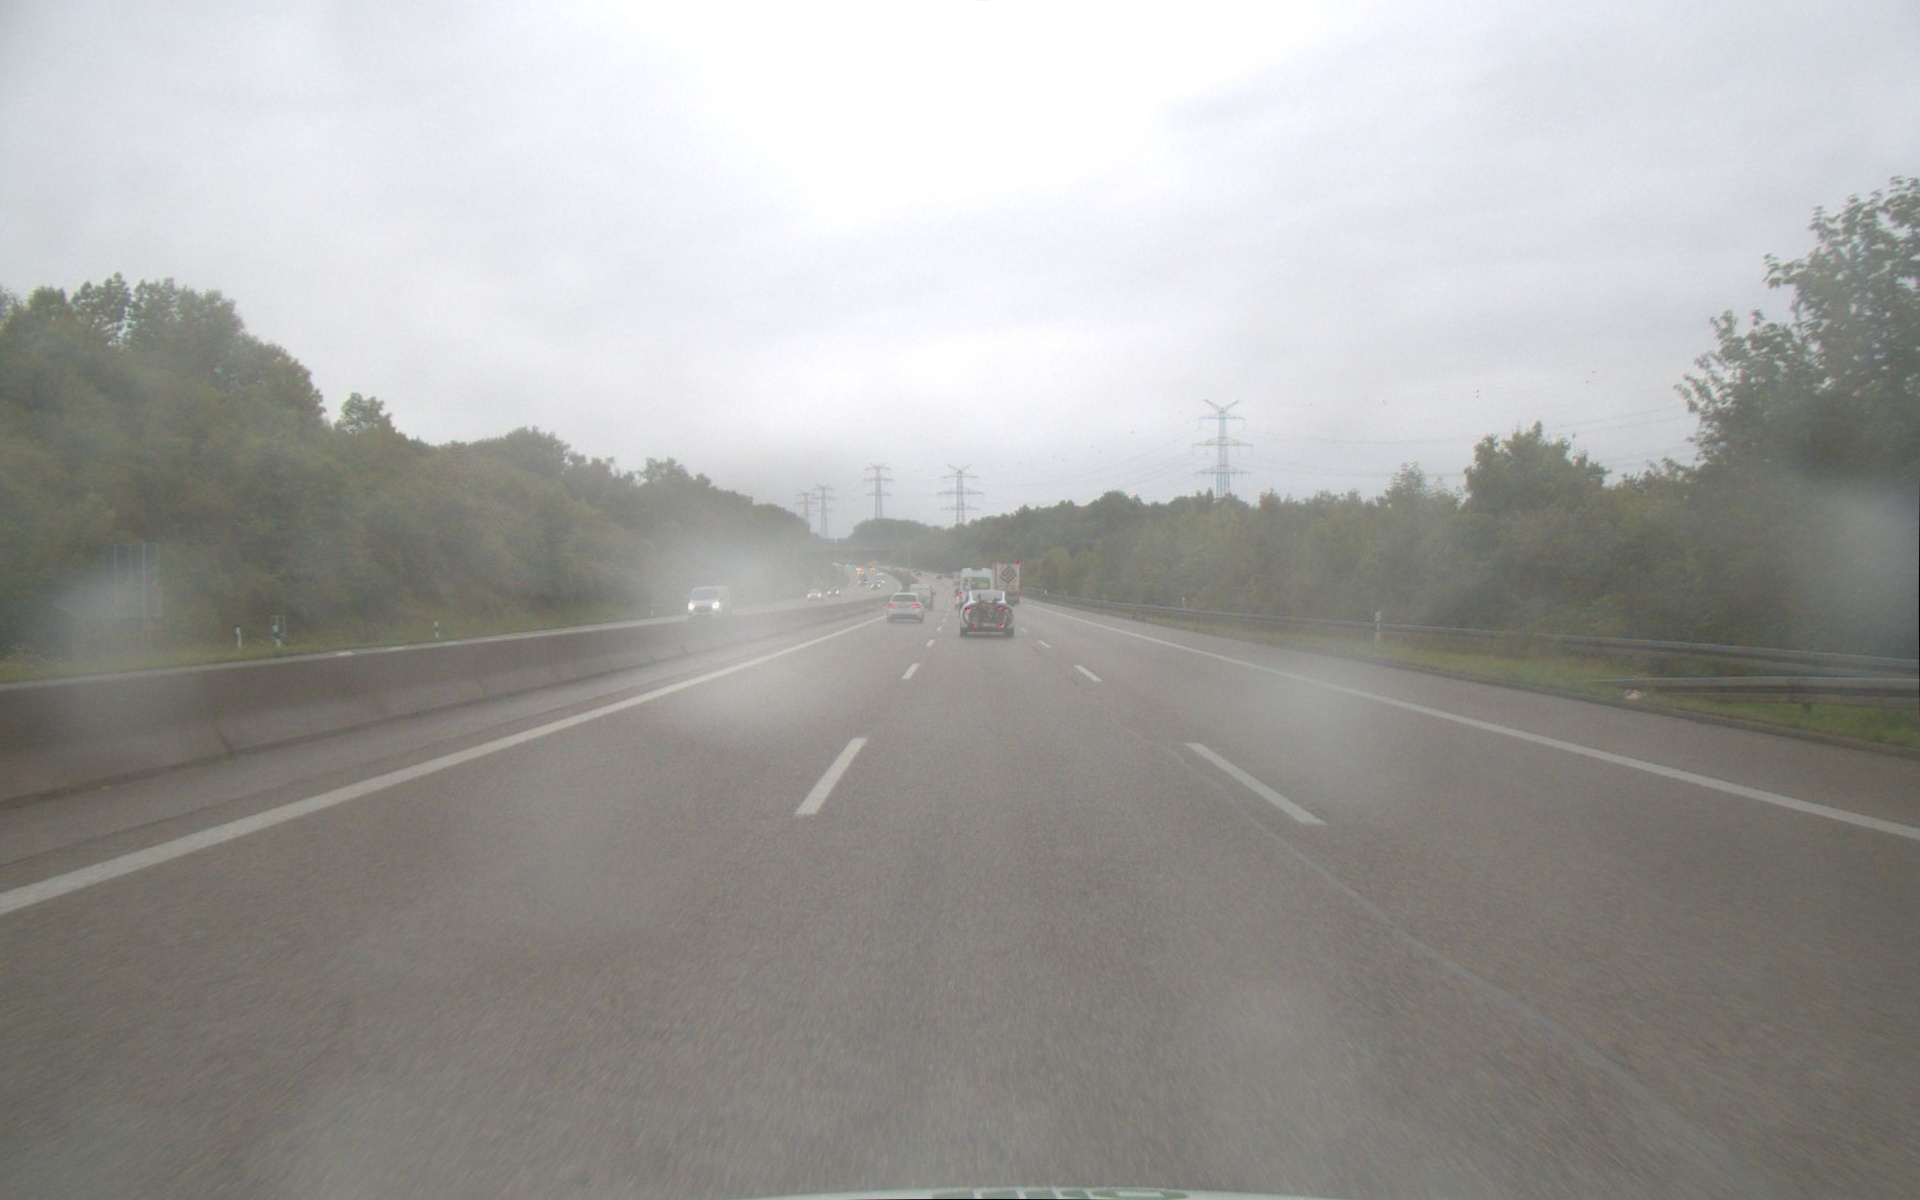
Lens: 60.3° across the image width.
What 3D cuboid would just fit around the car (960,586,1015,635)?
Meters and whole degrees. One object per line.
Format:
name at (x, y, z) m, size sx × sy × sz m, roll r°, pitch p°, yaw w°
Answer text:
car at (0.932, 0.331, 58.609) m, size 1.822 × 1.595 × 4.963 m, roll 1°, pitch 1°, yaw -1°

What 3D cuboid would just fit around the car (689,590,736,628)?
car at (-14.131, 0.508, 94.869) m, size 1.953 × 2.049 × 5.759 m, roll -1°, pitch 0°, yaw -2°

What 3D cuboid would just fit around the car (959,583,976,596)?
car at (0.945, -1.348, 212.810) m, size 1.953 × 1.601 × 3.999 m, roll -1°, pitch 0°, yaw -1°

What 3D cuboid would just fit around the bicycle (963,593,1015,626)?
bicycle at (0.961, 0.311, 55.657) m, size 1.717 × 1.109 × 0.913 m, roll 0°, pitch 0°, yaw -1°

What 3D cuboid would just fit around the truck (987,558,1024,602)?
truck at (4.634, -2.098, 171.600) m, size 3.529 × 4.407 × 13.201 m, roll 0°, pitch 1°, yaw 0°

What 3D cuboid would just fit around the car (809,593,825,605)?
car at (-18.550, -0.116, 214.838) m, size 1.761 × 1.475 × 4.628 m, roll -1°, pitch 0°, yaw -1°

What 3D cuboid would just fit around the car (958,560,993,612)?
car at (0.904, -0.799, 96.393) m, size 1.952 × 2.914 × 4.000 m, roll 1°, pitch -1°, yaw 0°

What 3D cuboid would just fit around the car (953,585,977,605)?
car at (0.366, -0.380, 128.218) m, size 1.819 × 1.447 × 4.000 m, roll 0°, pitch 1°, yaw -1°

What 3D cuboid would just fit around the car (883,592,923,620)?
car at (-2.744, 0.268, 80.312) m, size 1.829 × 1.310 × 3.999 m, roll -1°, pitch 0°, yaw -1°

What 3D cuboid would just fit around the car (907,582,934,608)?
car at (-2.803, -0.319, 117.715) m, size 1.808 × 1.803 × 3.999 m, roll 1°, pitch 0°, yaw -1°
